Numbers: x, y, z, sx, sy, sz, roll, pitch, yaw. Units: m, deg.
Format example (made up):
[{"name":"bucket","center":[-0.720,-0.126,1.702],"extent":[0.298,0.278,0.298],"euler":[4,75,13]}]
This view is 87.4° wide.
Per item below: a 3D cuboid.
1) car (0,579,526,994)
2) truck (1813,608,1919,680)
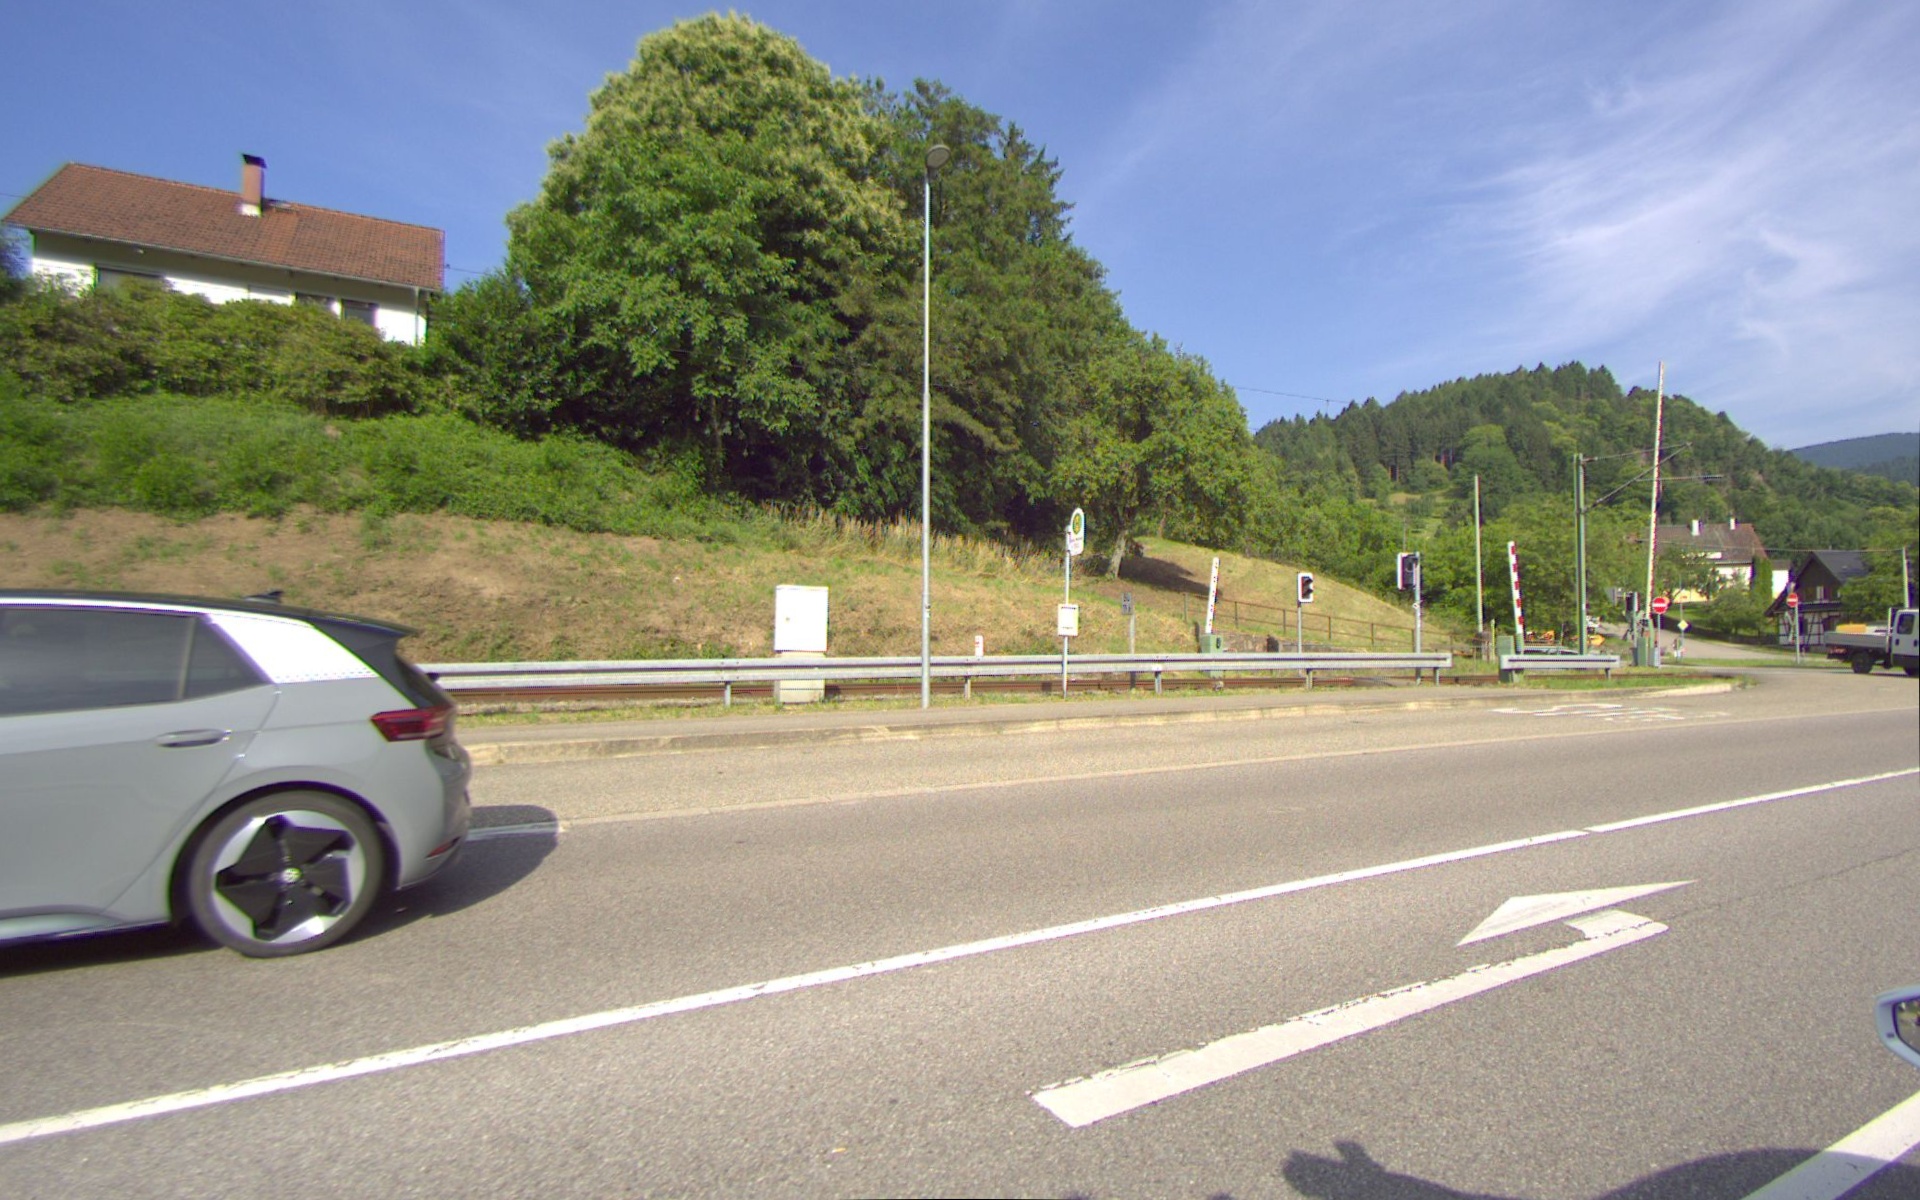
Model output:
[{"name":"car","center":[-4.226,0.688,4.349],"extent":[4.155,1.541,1.750],"euler":[1,0,-30]},{"name":"truck","center":[31.837,1.455,33.458],"extent":[1.960,2.296,6.006],"euler":[0,-1,3]}]
